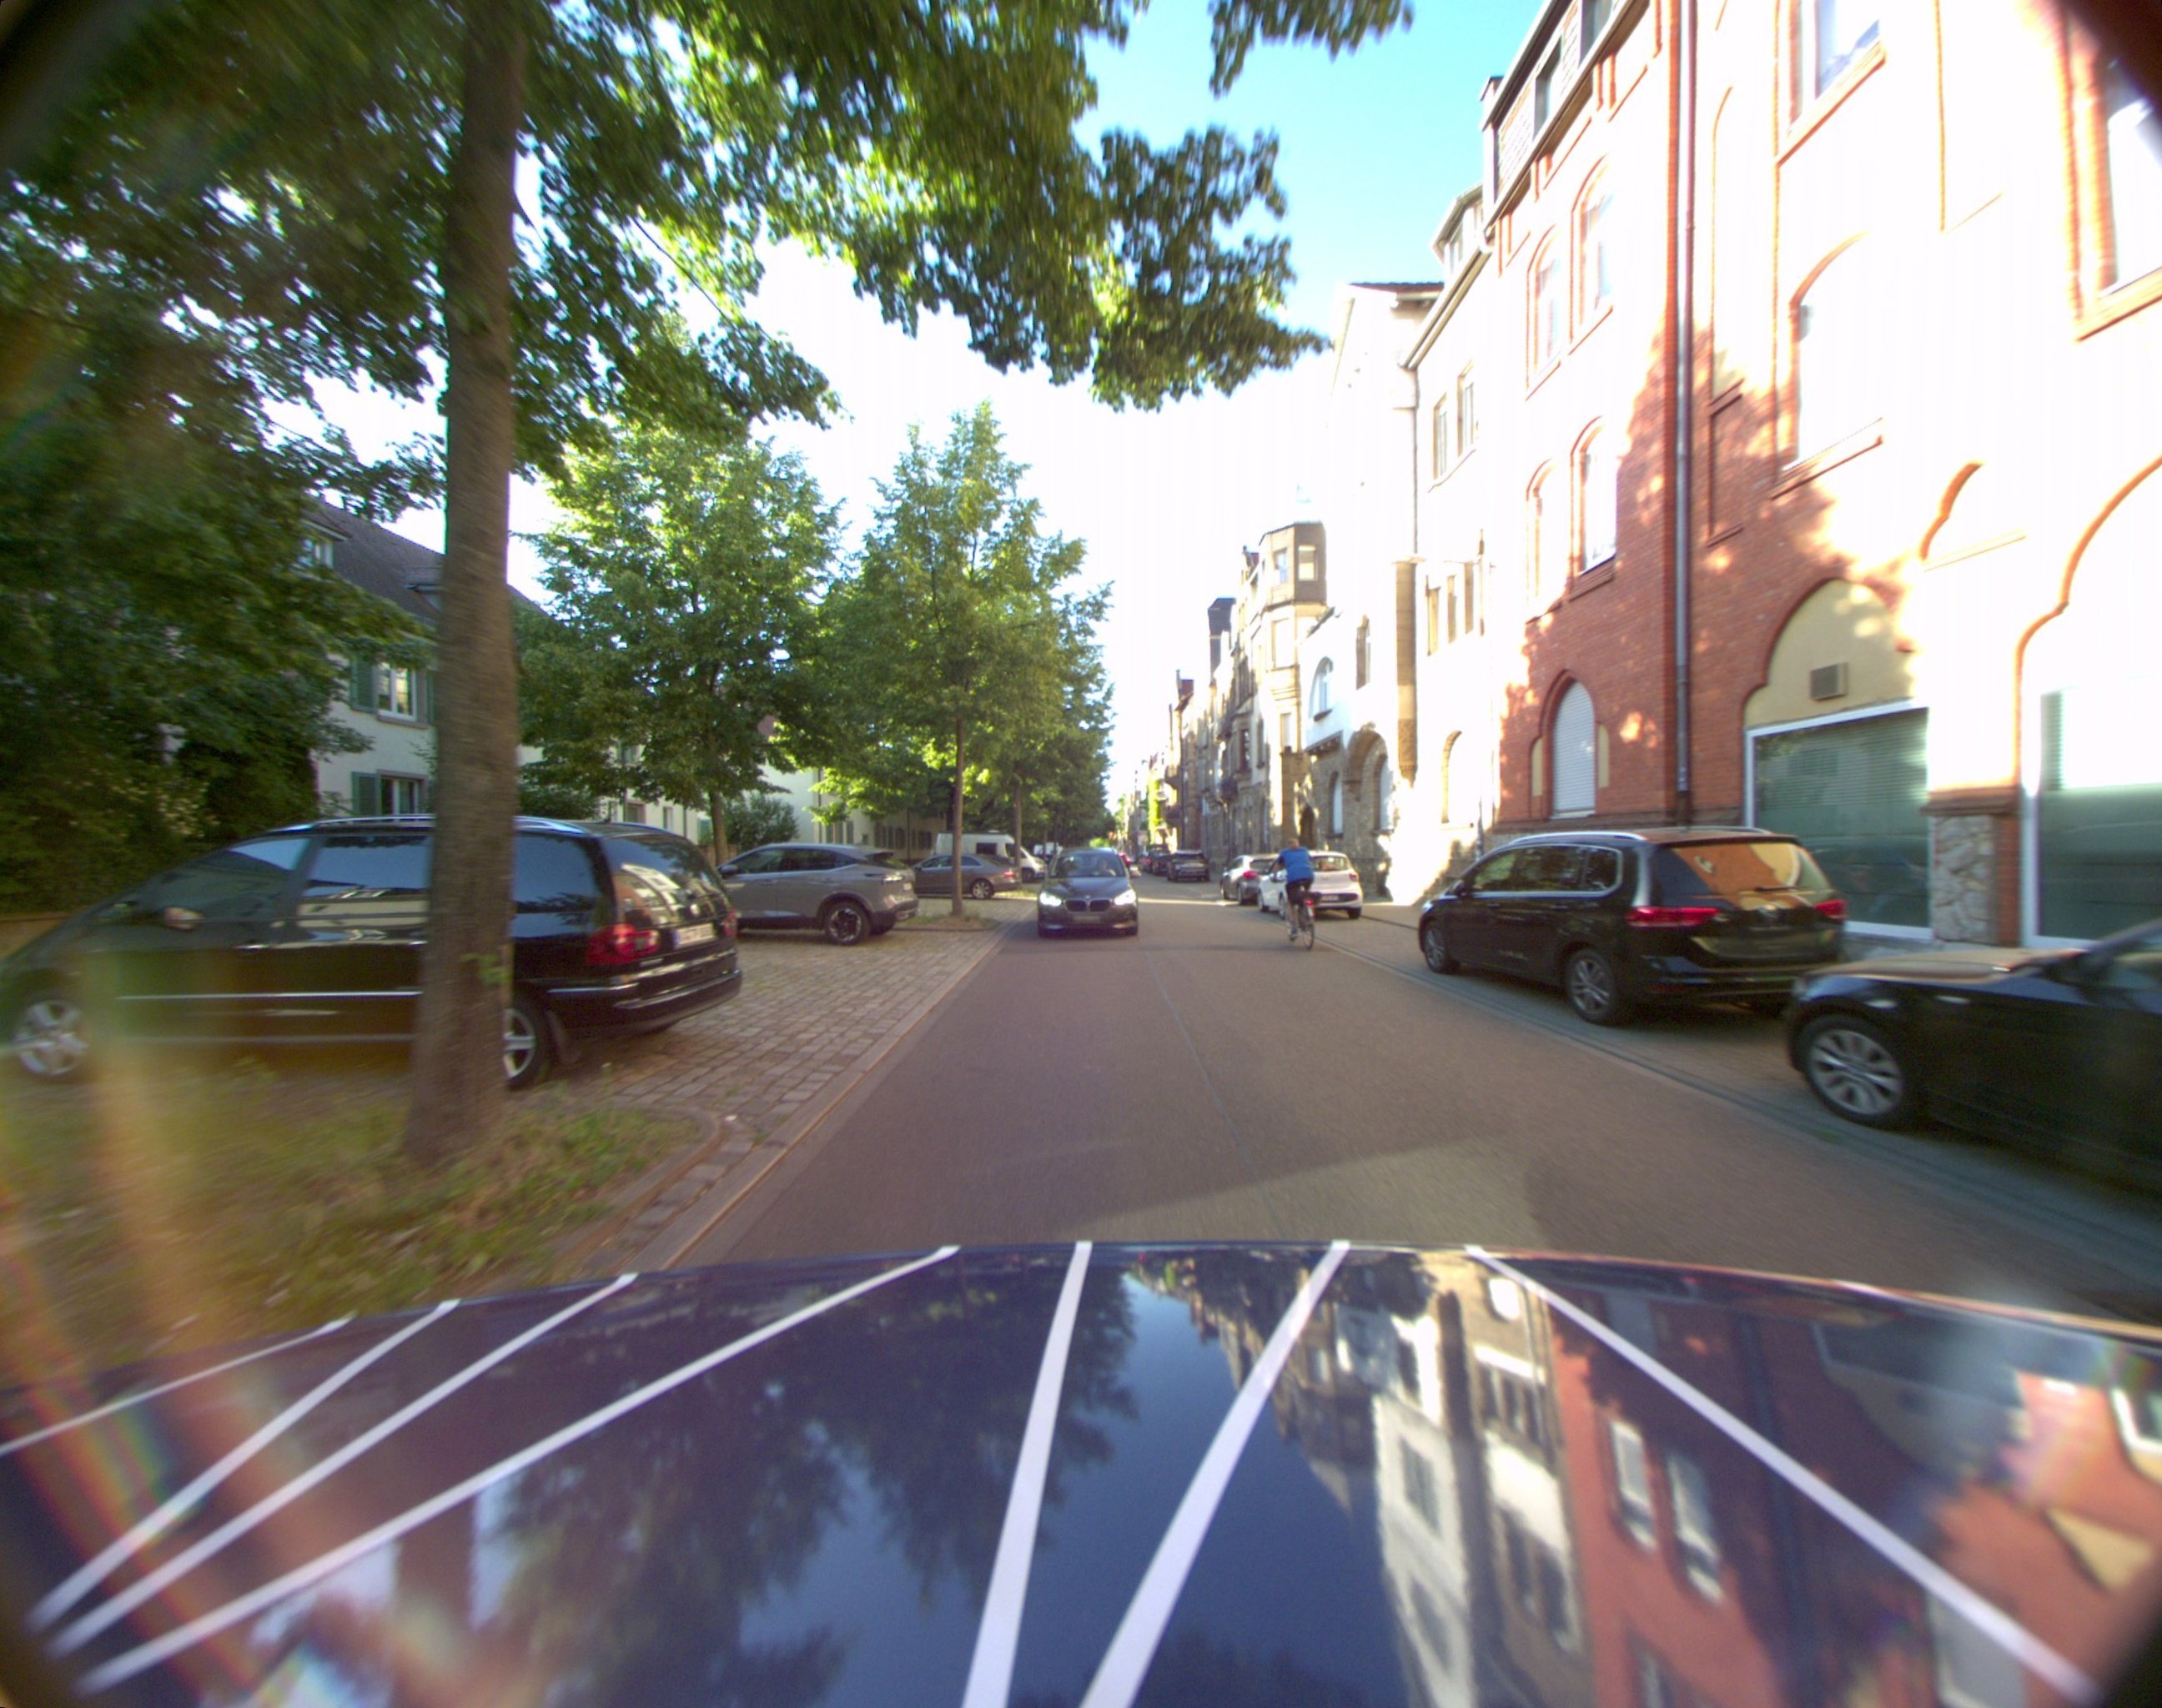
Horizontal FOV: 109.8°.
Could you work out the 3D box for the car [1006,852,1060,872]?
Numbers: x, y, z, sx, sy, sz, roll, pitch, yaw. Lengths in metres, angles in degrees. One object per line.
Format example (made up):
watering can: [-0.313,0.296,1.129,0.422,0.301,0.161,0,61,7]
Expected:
car: [-3.596,0.589,57.728,3.997,1.543,1.555,0,1,1]

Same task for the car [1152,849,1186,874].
car: [5.822,0.477,50.640,1.774,1.493,4.211,-1,2,1]

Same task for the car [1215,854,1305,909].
car: [5.246,0.739,22.795,1.681,1.434,4.111,-2,0,0]

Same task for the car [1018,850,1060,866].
car: [-4.009,0.366,73.153,3.998,1.504,1.572,0,1,-3]

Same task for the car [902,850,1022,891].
car: [-4.719,0.653,30.527,4.486,1.427,1.828,2,1,1]

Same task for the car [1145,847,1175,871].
car: [5.917,0.343,57.265,1.774,1.658,4.212,-2,1,1]

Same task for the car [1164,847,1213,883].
car: [5.432,0.515,38.890,1.881,1.707,4.339,-2,0,1]

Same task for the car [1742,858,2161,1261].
car: [4.874,0.802,2.502,1.639,1.402,4.333,-3,1,1]

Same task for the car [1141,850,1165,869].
car: [5.963,0.480,62.941,1.633,1.439,3.856,-4,-1,2]

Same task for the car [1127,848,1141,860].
car: [7.216,0.042,103.011,1.686,1.496,3.629,-4,-1,2]

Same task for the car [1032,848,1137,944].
car: [0.121,0.710,15.100,1.753,1.596,4.550,-1,0,2]

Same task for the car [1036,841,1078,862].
car: [-3.090,-0.360,98.664,5.448,2.646,2.134,0,1,1]

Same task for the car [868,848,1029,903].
car: [-4.197,0.663,24.668,4.850,1.530,1.894,2,1,-1]

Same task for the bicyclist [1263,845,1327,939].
bicyclist: [3.402,0.578,12.145,0.761,1.445,0.948,0,2,1]

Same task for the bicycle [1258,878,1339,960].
bicycle: [3.404,0.987,12.080,0.759,1.101,1.907,0,1,1]

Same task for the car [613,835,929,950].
car: [-5.016,0.590,12.756,4.487,1.624,1.875,2,1,0]

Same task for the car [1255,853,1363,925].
car: [5.180,0.737,17.704,1.570,1.462,3.592,-2,0,3]

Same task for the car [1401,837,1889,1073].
car: [5.048,0.708,7.724,1.673,1.671,4.349,-2,1,-1]

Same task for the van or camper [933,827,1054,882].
van or camper: [-4.324,0.019,38.136,5.733,2.502,2.162,2,1,0]

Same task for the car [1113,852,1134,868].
car: [3.861,0.526,69.726,1.631,1.469,3.759,0,0,-1]

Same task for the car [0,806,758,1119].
car: [-5.029,0.596,5.413,4.592,1.667,1.907,2,1,3]

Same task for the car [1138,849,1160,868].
car: [6.117,0.439,68.650,1.633,1.496,3.856,-4,-1,2]
